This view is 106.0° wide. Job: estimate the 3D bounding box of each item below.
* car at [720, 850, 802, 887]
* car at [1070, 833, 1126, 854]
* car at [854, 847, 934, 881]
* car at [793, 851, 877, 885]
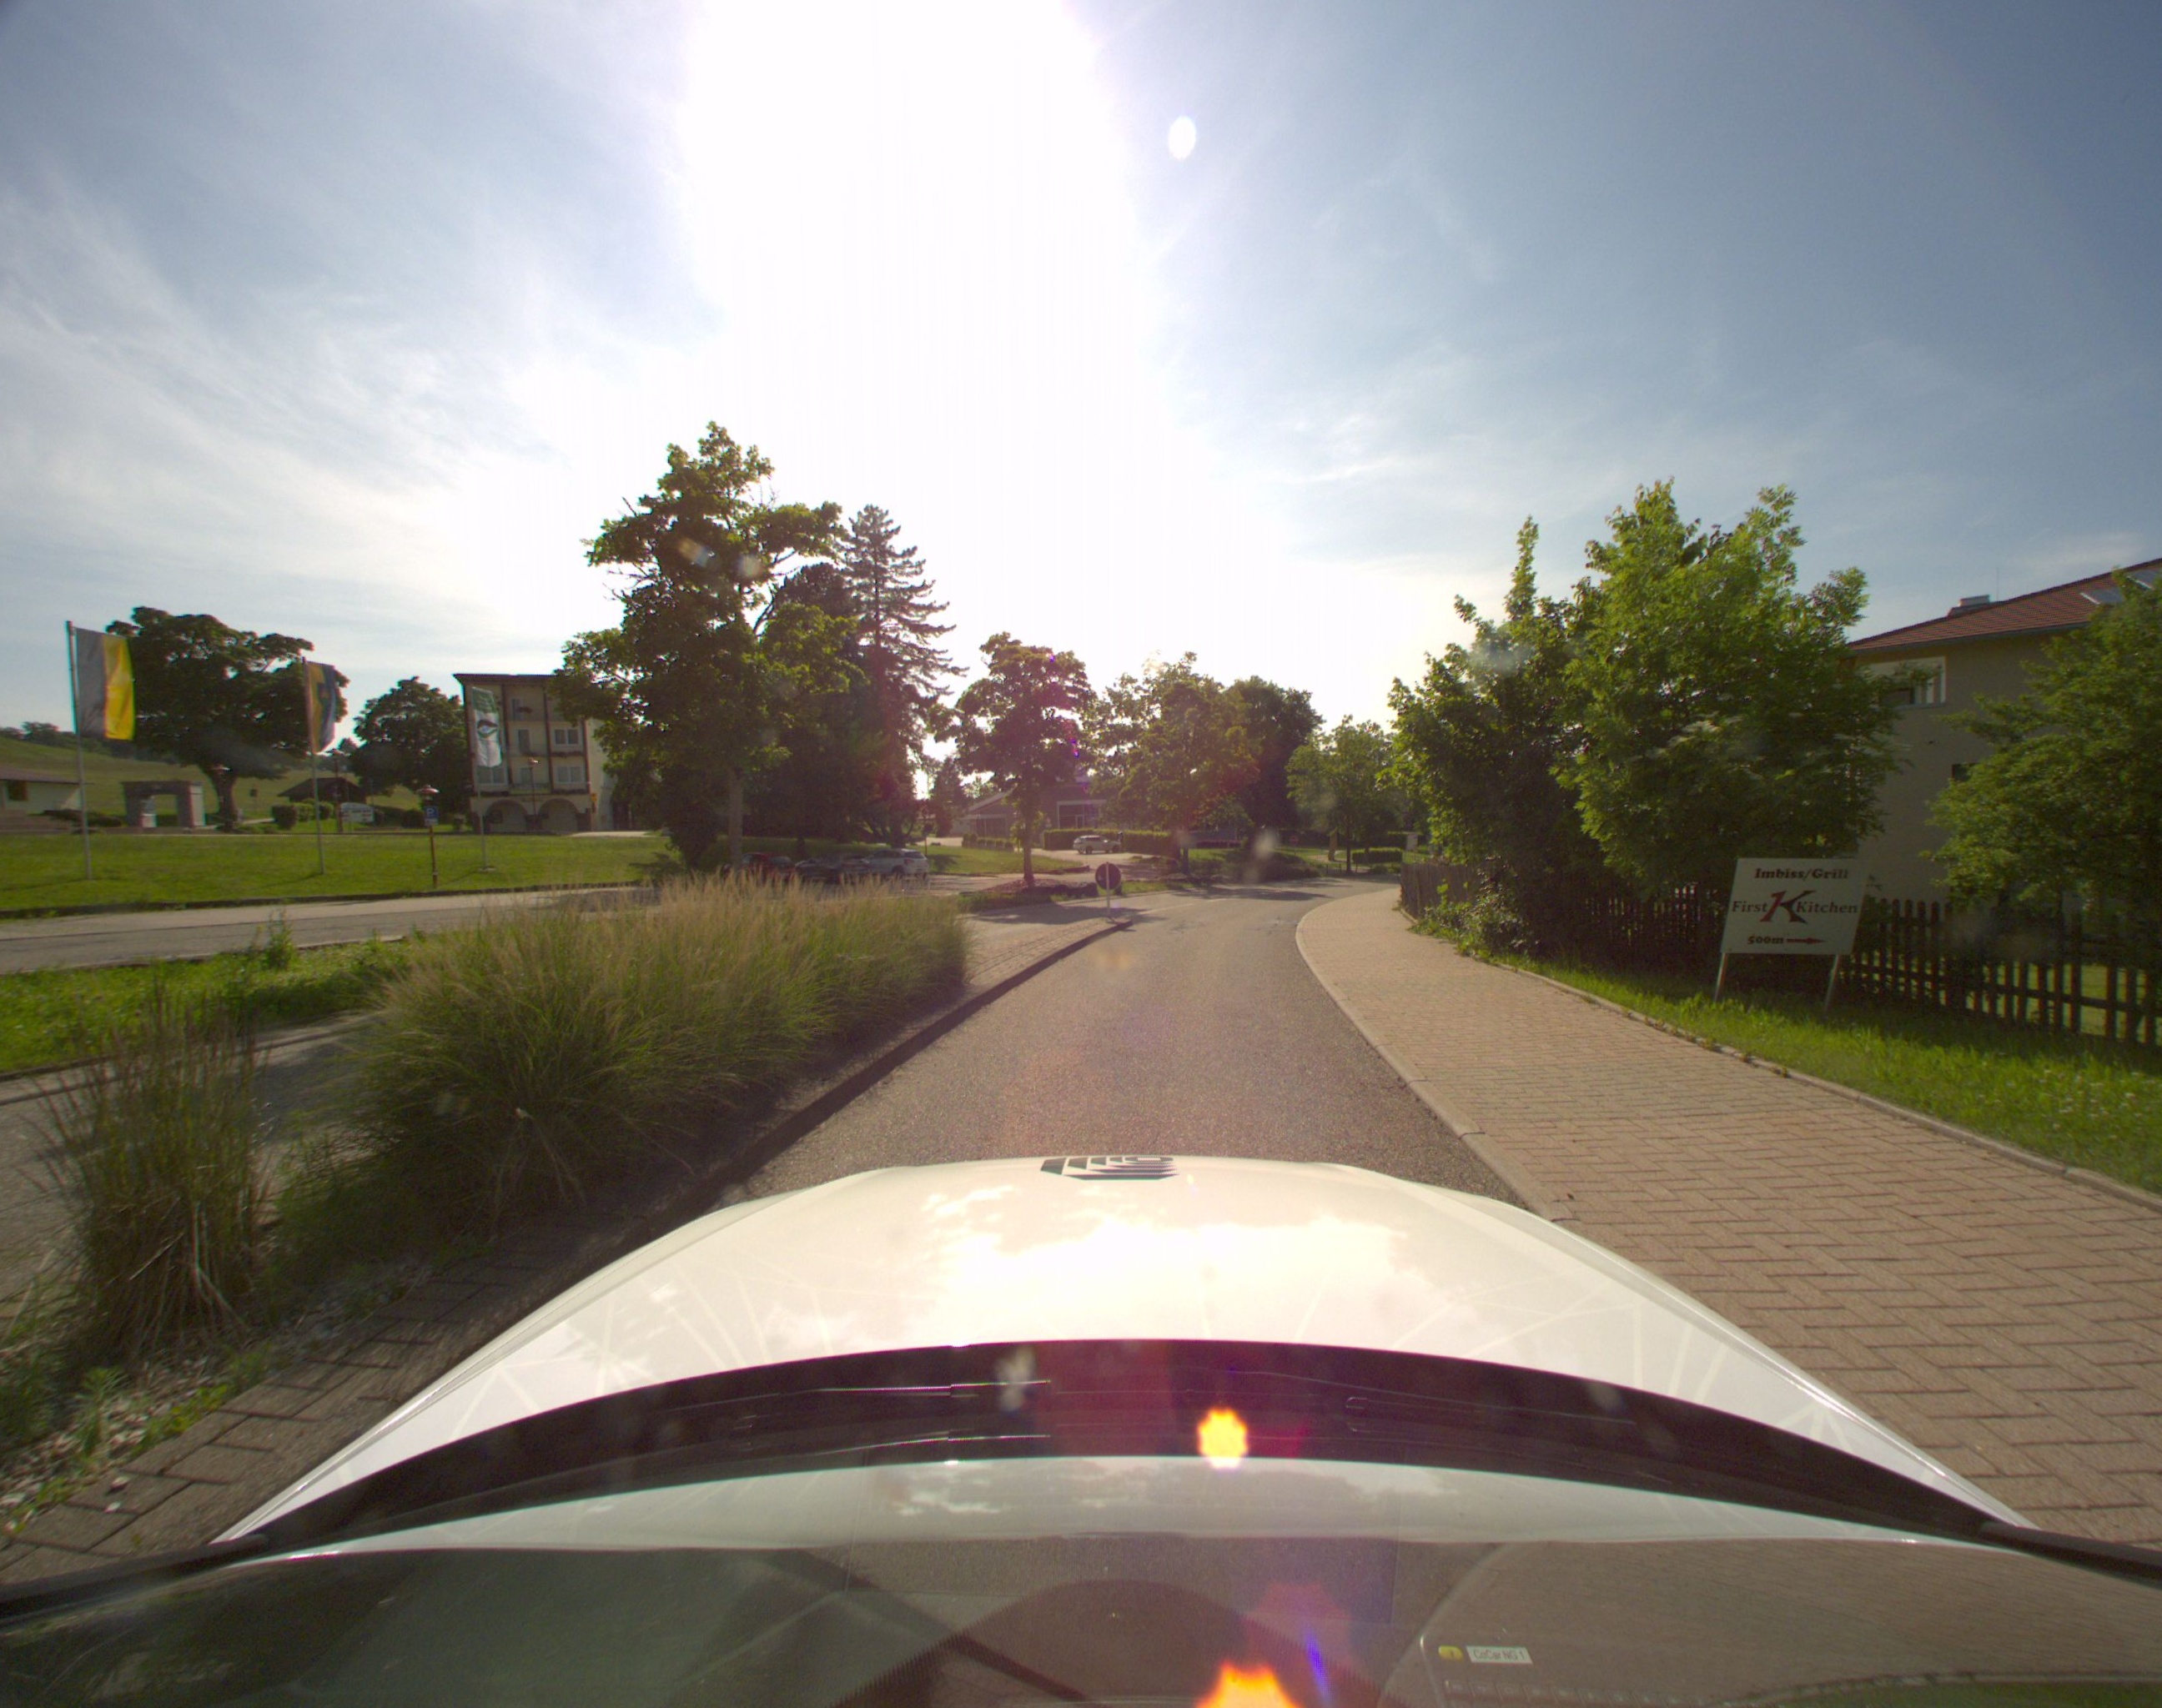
[{"bbox_3d":[-14.153,0.608,35.988,3.167,1.470,1.787,1,1,30],"label":"car"},{"bbox_3d":[1.537,-0.945,73.279,4.739,1.533,1.984,-3,6,-25],"label":"car"},{"bbox_3d":[-9.682,0.485,42.121,3.891,1.609,1.787,1,1,31],"label":"car"},{"bbox_3d":[-11.657,0.633,38.531,3.666,1.433,1.787,1,1,32],"label":"car"}]
